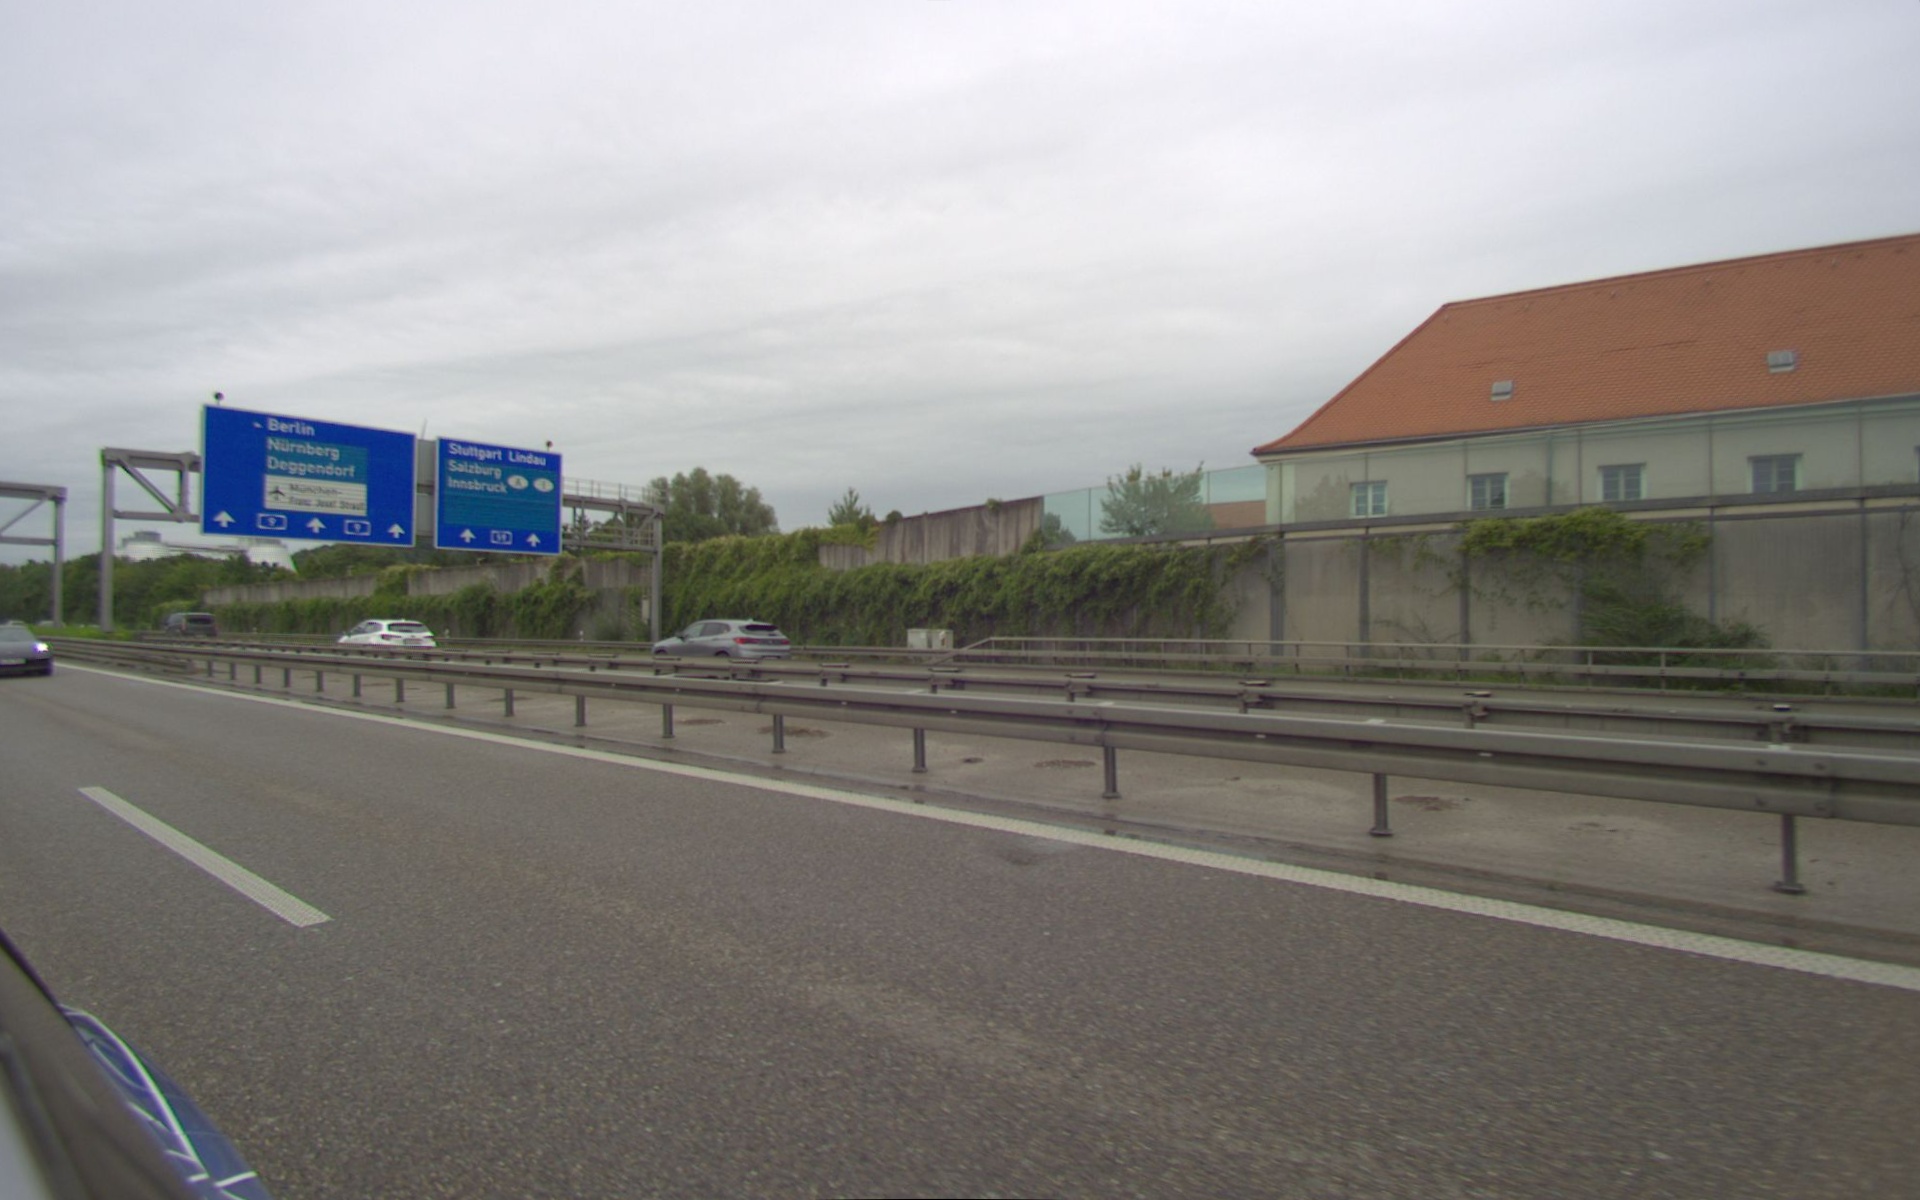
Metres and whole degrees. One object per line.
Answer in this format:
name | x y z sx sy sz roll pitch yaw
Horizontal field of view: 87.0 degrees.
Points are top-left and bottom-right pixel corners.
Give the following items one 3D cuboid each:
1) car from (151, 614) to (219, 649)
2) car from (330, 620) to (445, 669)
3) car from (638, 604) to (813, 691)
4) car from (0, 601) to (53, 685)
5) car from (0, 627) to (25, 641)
car | -48.177 1.905 62.843 6.267 1.987 2.186 -1 0 41
car | -18.318 1.398 32.271 4.761 1.417 1.585 -1 -5 41
car | -6.096 1.156 26.043 4.728 2.029 1.913 -1 -1 40
car | -24.792 1.069 26.034 3.849 2.029 1.703 -1 0 41
car | -111.729 3.975 119.170 4.931 1.465 1.973 -4 -3 41
